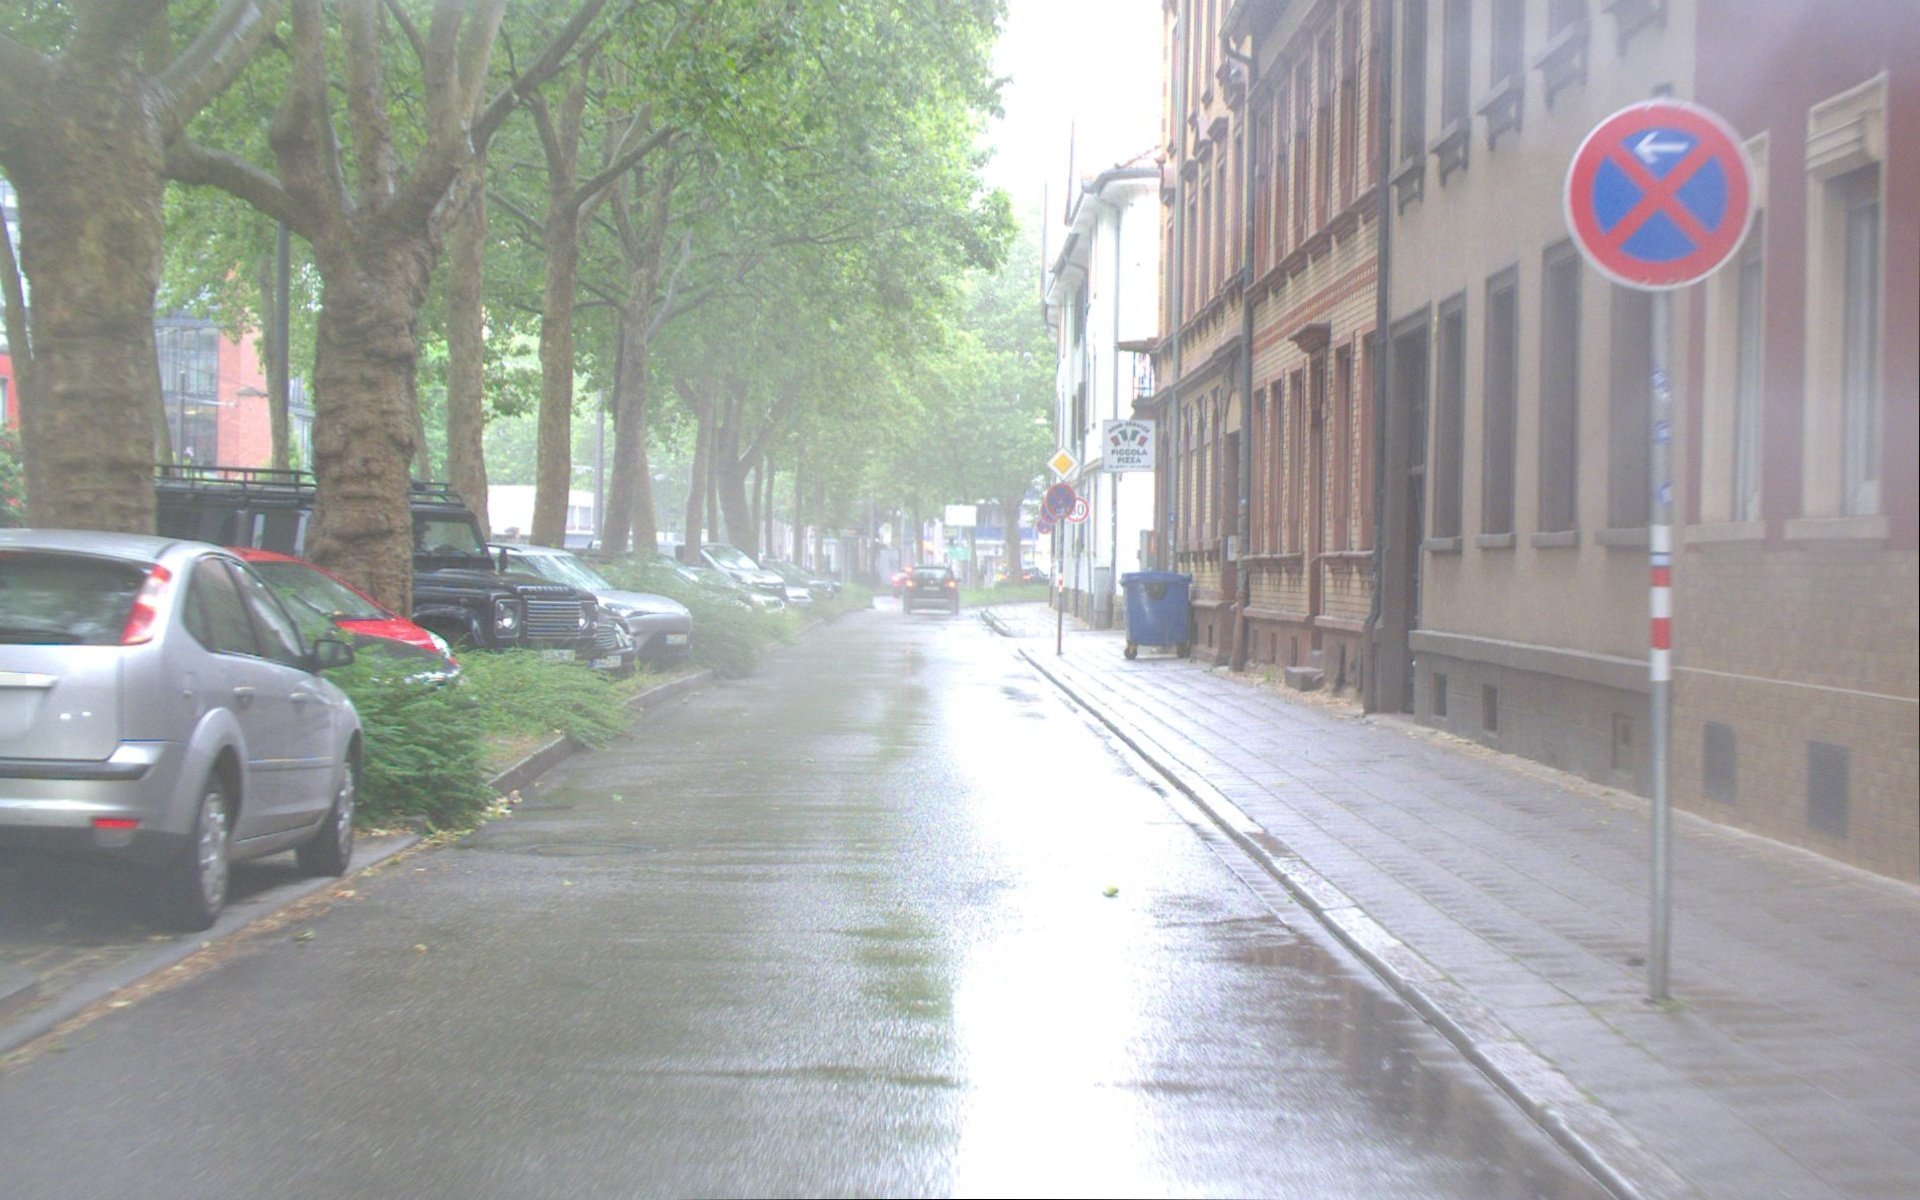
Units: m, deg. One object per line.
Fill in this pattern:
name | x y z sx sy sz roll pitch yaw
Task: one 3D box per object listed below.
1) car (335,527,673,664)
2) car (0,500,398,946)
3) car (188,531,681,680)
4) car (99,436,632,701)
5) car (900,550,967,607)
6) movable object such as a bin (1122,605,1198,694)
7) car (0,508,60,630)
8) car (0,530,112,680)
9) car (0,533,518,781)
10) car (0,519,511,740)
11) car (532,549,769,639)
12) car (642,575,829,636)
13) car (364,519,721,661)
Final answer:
car | -5.305 -0.055 40.060 3.503 1.463 1.640 2 0 21
car | -3.534 0.385 14.073 1.729 1.509 4.207 4 0 -1
car | -5.275 0.041 34.406 4.652 1.321 1.844 2 0 27
car | -5.505 -0.314 31.654 4.654 2.275 2.008 2 0 33
car | -0.865 -0.670 108.790 1.993 1.634 4.000 3 0 -1
movable object such as a bin | 3.024 0.741 52.053 1.021 1.297 1.367 -1 1 -1
car | -12.996 -0.440 44.020 1.904 1.529 4.216 3 0 -2
car | -9.899 0.004 34.467 1.833 1.415 4.000 3 0 -2
car | -5.085 0.321 22.276 4.039 1.430 1.779 2 0 25
car | -5.211 0.189 24.736 3.497 1.431 1.779 2 0 27
car | -7.144 -0.152 79.218 5.124 1.971 2.099 1 0 30
car | -5.796 0.144 88.567 4.554 1.477 1.772 1 0 30
car | -5.205 -0.124 42.758 4.059 1.532 1.832 3 1 30
